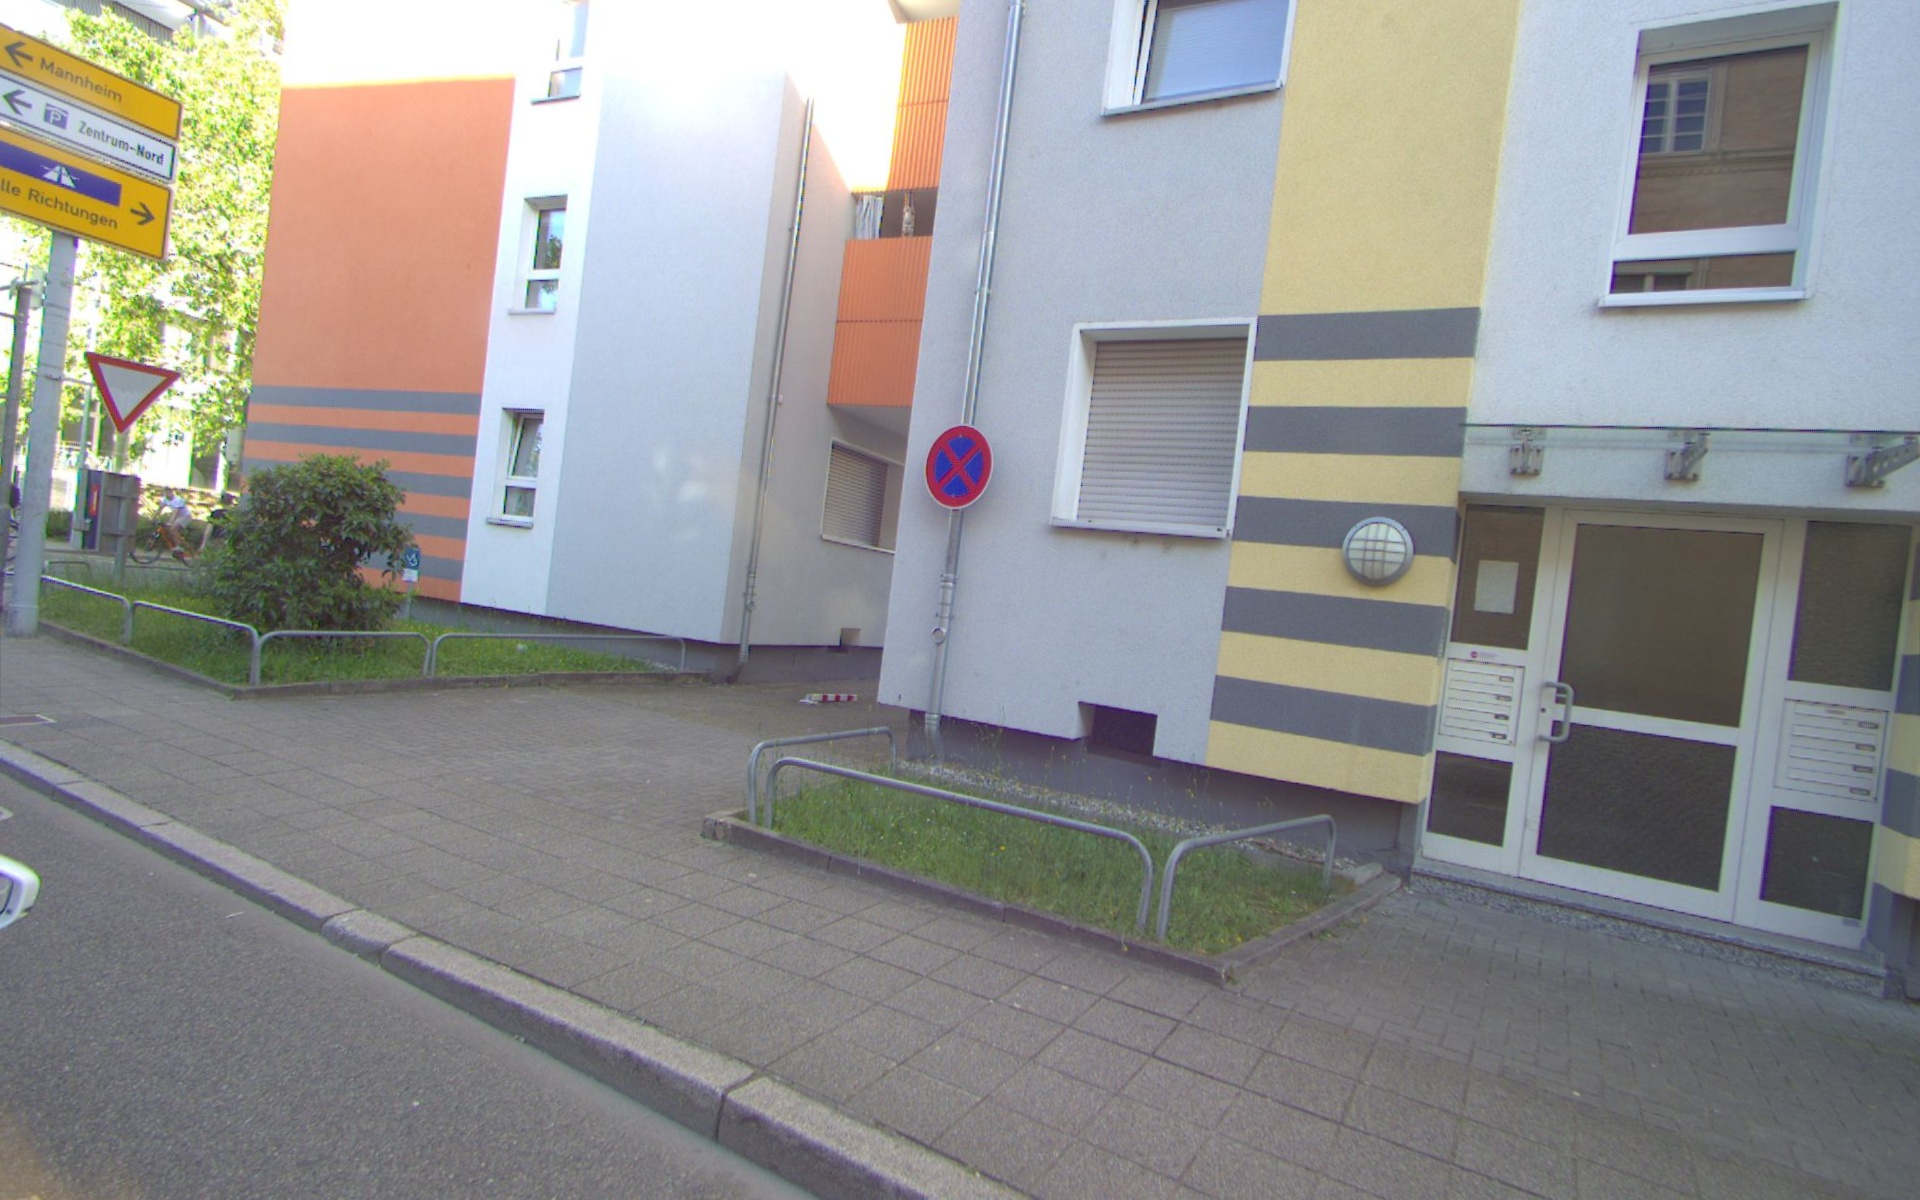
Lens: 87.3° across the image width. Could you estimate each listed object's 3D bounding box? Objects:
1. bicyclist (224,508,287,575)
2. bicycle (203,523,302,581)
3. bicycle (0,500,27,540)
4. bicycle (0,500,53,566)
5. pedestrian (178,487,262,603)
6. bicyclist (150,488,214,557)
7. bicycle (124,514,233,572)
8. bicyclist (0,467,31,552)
[{"bbox_3d":[-17.103,-1.409,24.425,0.617,1.464,0.972,7,1,30],"label":"bicyclist"},{"bbox_3d":[-17.143,-1.138,24.418,0.617,1.166,1.781,7,0,30],"label":"bicycle"},{"bbox_3d":[-26.383,-2.250,27.381,1.409,1.021,0.379,7,1,-11],"label":"bicycle"},{"bbox_3d":[-18.166,-1.305,18.677,0.581,1.166,1.971,7,0,9],"label":"bicycle"},{"bbox_3d":[-12.532,-0.909,17.059,0.690,1.831,0.719,7,-1,-9],"label":"pedestrian"},{"bbox_3d":[-19.017,-1.885,24.599,0.691,1.542,0.918,7,1,22],"label":"bicyclist"},{"bbox_3d":[-19.075,-1.375,24.611,0.616,1.166,1.969,7,0,22],"label":"bicycle"},{"bbox_3d":[-18.126,-1.736,18.667,0.581,1.546,1.079,7,1,9],"label":"bicyclist"}]
